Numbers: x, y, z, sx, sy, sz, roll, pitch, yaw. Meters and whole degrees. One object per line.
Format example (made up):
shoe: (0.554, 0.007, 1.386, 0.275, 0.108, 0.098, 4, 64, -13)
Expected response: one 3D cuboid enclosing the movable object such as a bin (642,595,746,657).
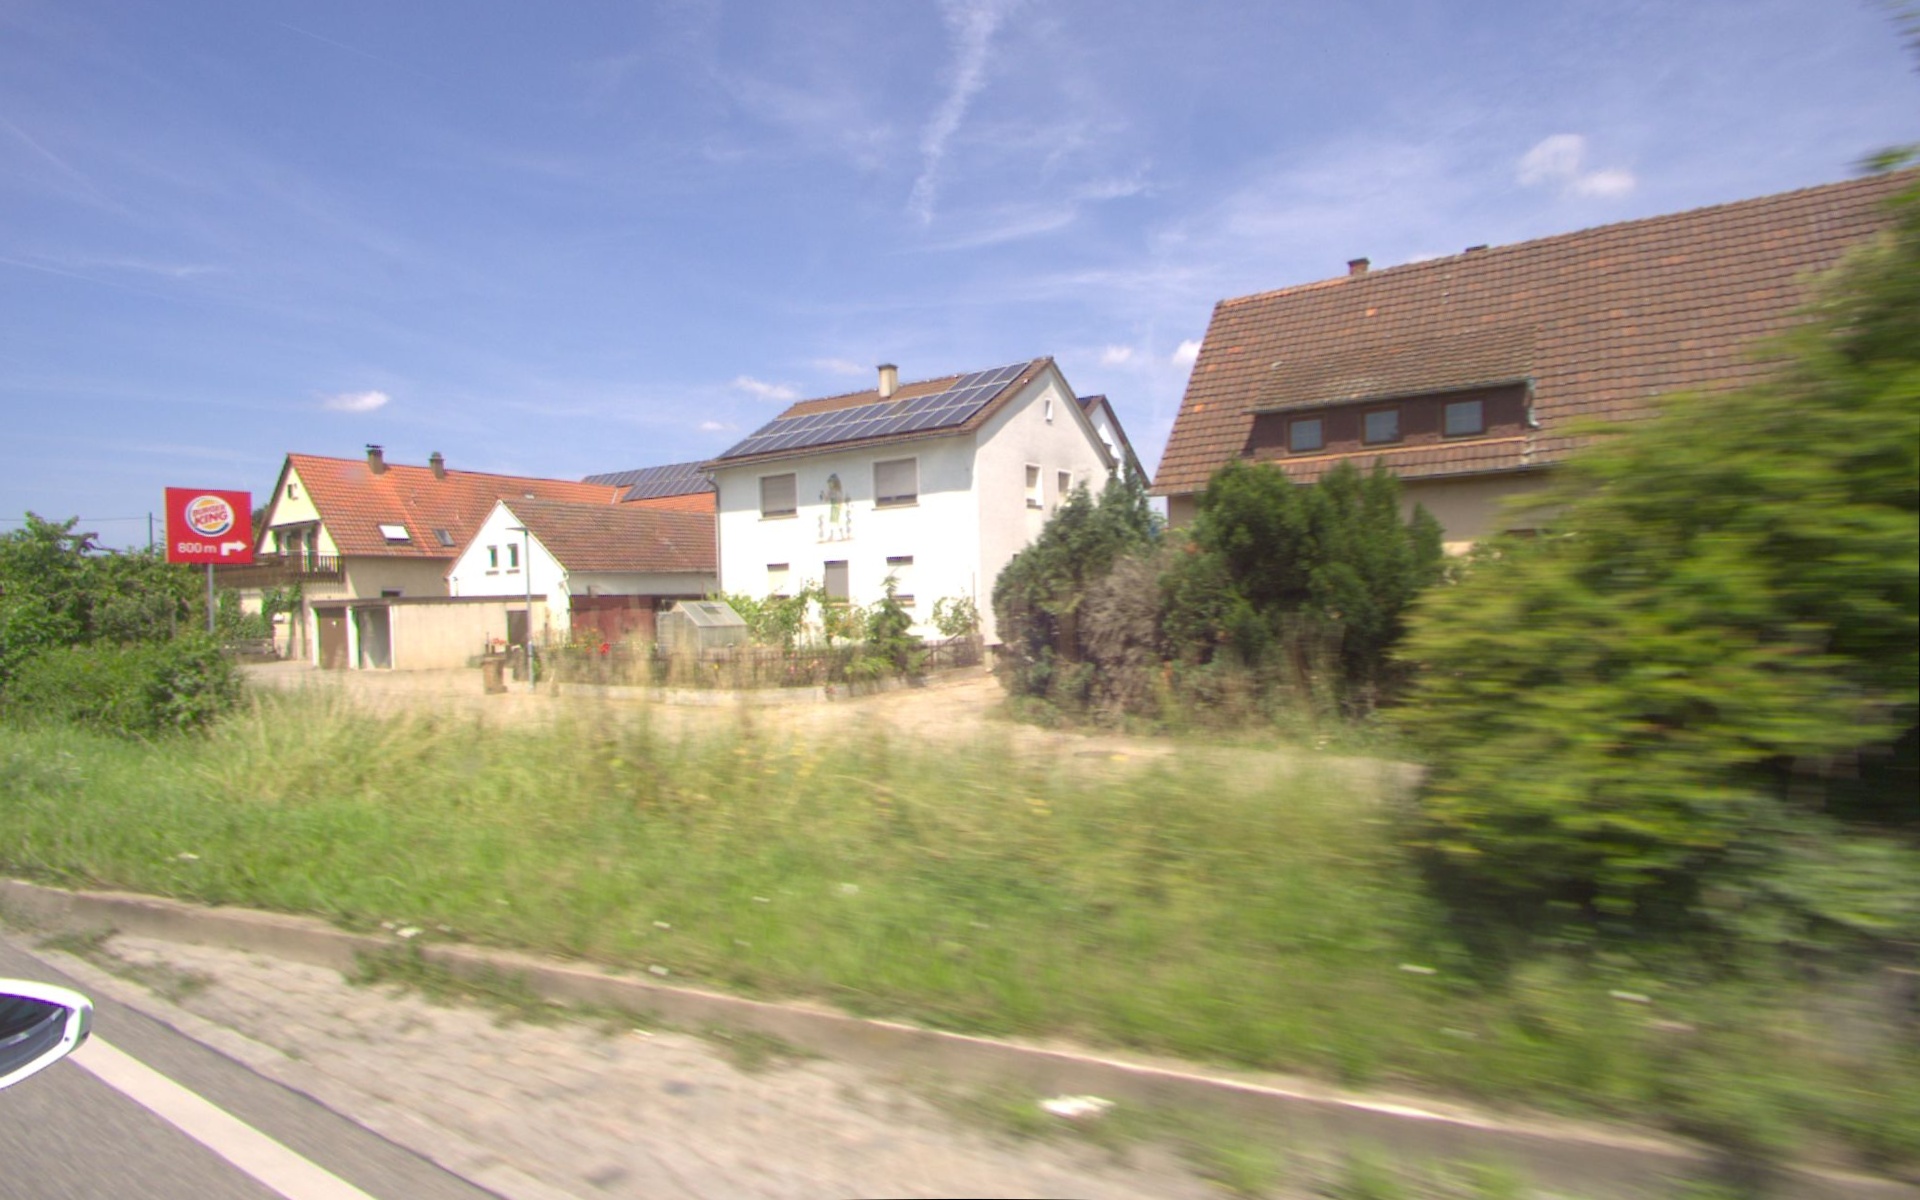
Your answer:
movable object such as a bin: (-10.904, 1.023, 41.238, 2.052, 2.375, 3.695, 1, 2, 36)
